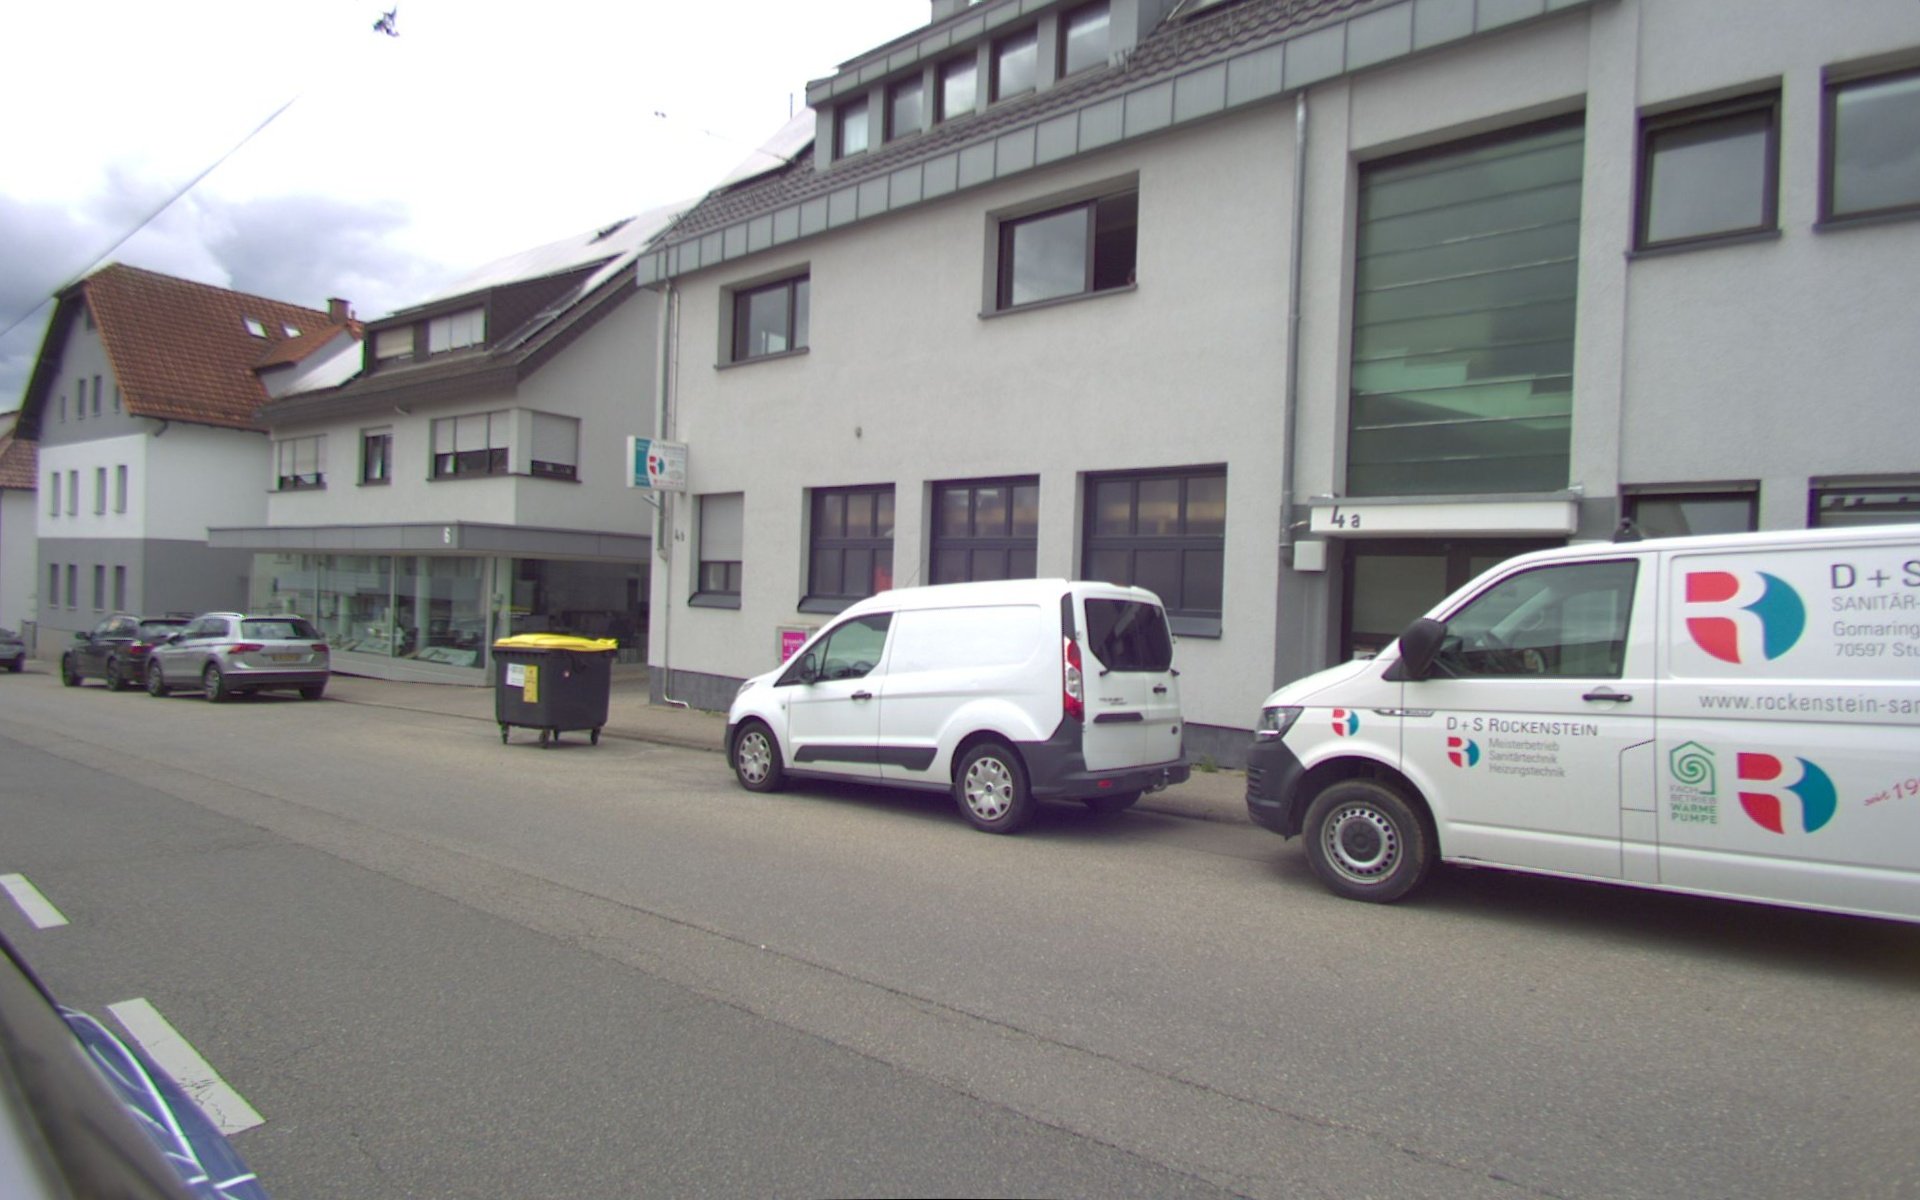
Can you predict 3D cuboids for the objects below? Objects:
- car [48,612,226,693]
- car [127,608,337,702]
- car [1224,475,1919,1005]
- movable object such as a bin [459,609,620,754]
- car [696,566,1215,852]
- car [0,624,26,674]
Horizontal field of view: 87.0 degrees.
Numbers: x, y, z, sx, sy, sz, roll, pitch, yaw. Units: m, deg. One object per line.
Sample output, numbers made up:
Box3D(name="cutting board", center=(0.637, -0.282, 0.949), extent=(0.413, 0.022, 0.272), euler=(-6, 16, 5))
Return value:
Box3D(name="car", center=(-18.510, 1.142, 22.708), extent=(4.395, 1.645, 1.822), euler=(-1, -3, 33))
Box3D(name="car", center=(-14.139, 1.023, 19.598), extent=(4.395, 1.645, 1.822), euler=(-1, -3, 33))
Box3D(name="car", center=(3.877, 0.579, 4.898), extent=(4.761, 2.021, 1.793), euler=(-2, -4, 42))
Box3D(name="movable object such as a bin", center=(-5.168, 0.957, 12.449), extent=(1.558, 1.645, 1.131), euler=(-1, -3, 33))
Box3D(name="car", center=(-0.200, 0.778, 8.601), extent=(4.293, 1.846, 1.716), euler=(-1, -4, 39))
Box3D(name="car", center=(-30.147, 1.453, 30.526), extent=(4.454, 1.456, 1.823), euler=(-1, -3, 33))
